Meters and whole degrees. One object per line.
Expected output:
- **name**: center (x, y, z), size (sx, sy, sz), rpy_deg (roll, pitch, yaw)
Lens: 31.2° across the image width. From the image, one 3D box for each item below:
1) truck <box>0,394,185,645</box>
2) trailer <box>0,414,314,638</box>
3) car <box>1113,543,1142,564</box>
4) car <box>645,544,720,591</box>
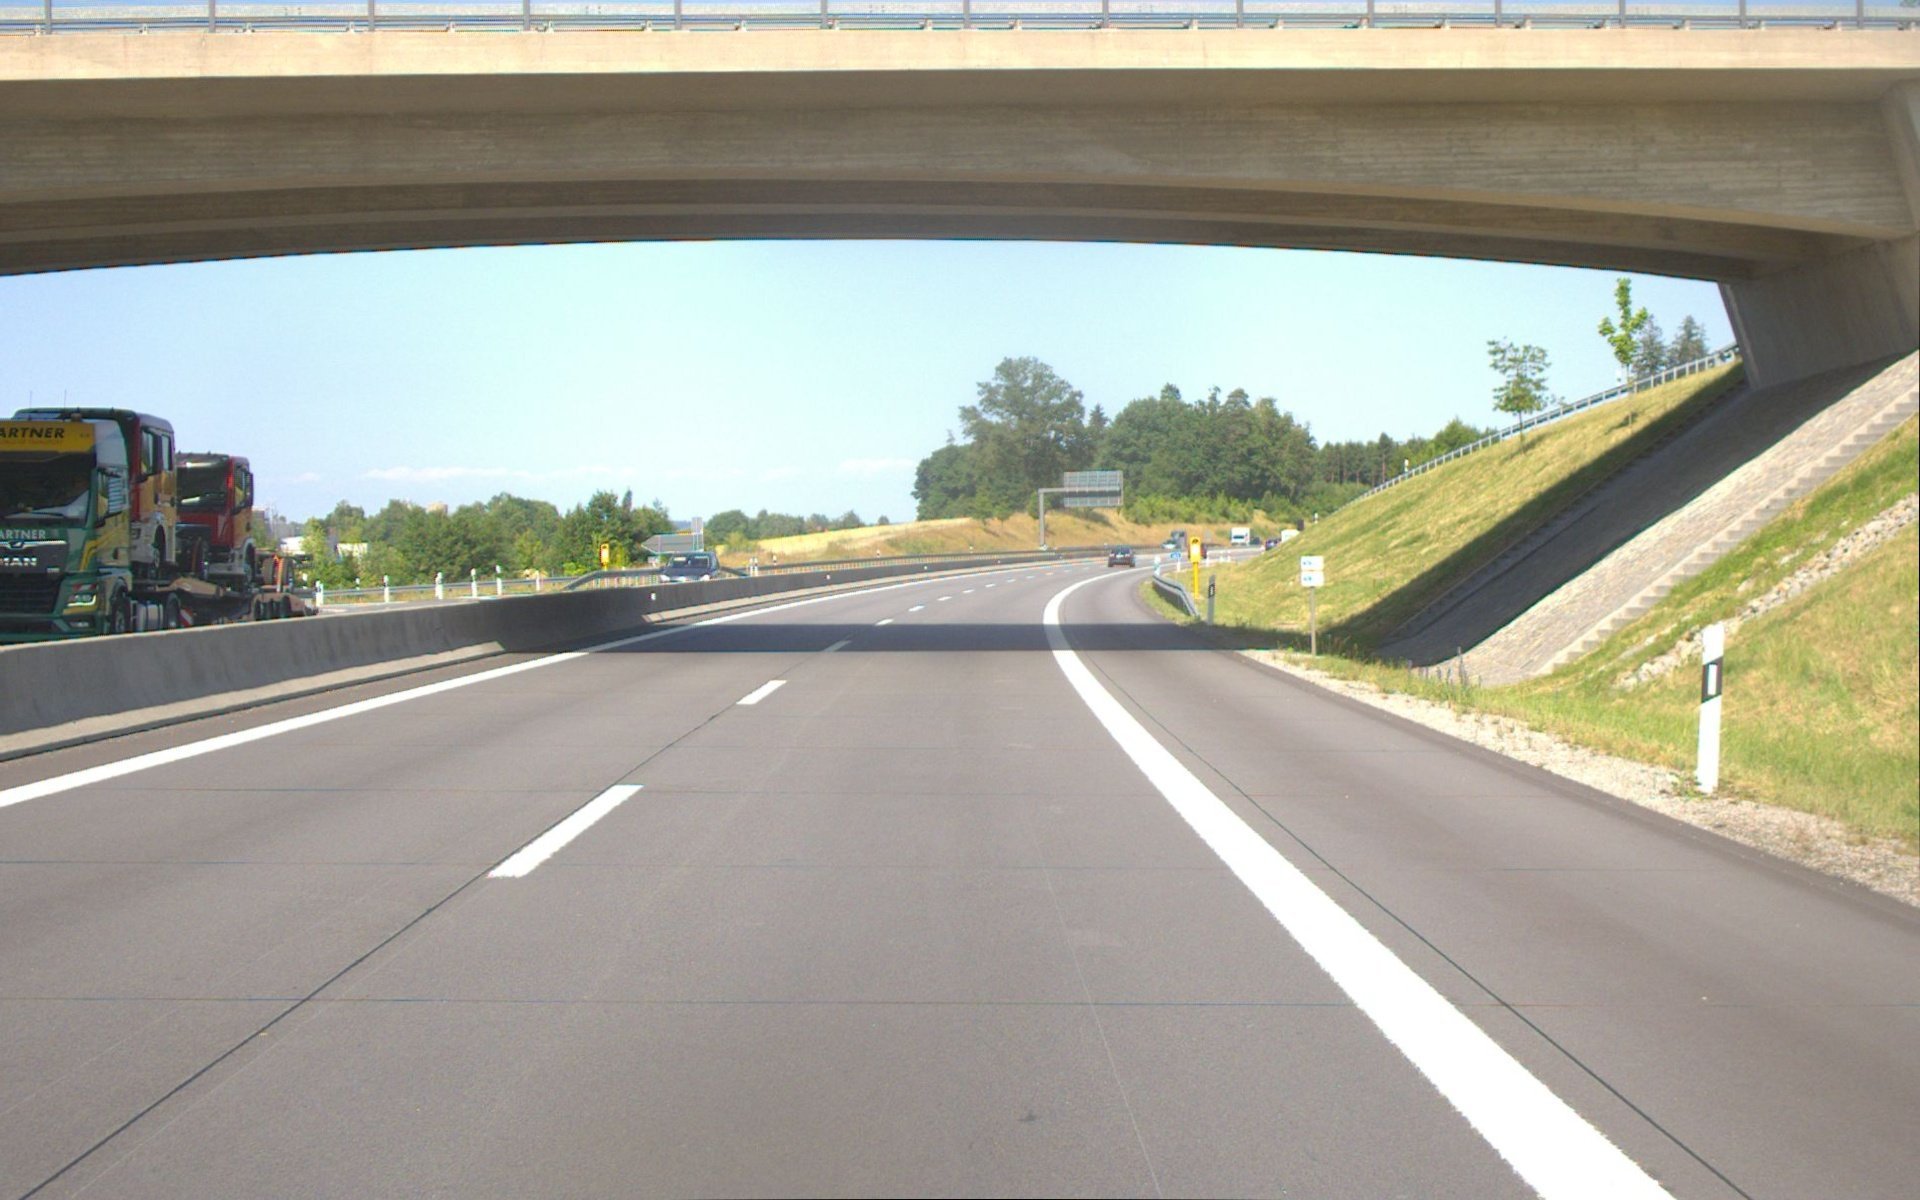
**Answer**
- **truck**: center (-14.465, -1.270, 55.236), size (2.735, 3.818, 5.831), rpy_deg (0, 1, -1)
- **trailer**: center (-14.449, -1.317, 62.689), size (2.665, 3.645, 13.237), rpy_deg (0, 1, 1)
- **car**: center (12.019, -3.318, 246.996), size (1.994, 1.415, 4.000), rpy_deg (-2, 1, 3)
- **car**: center (-9.415, -1.124, 116.997), size (2.069, 1.569, 4.927), rpy_deg (0, 1, 1)
